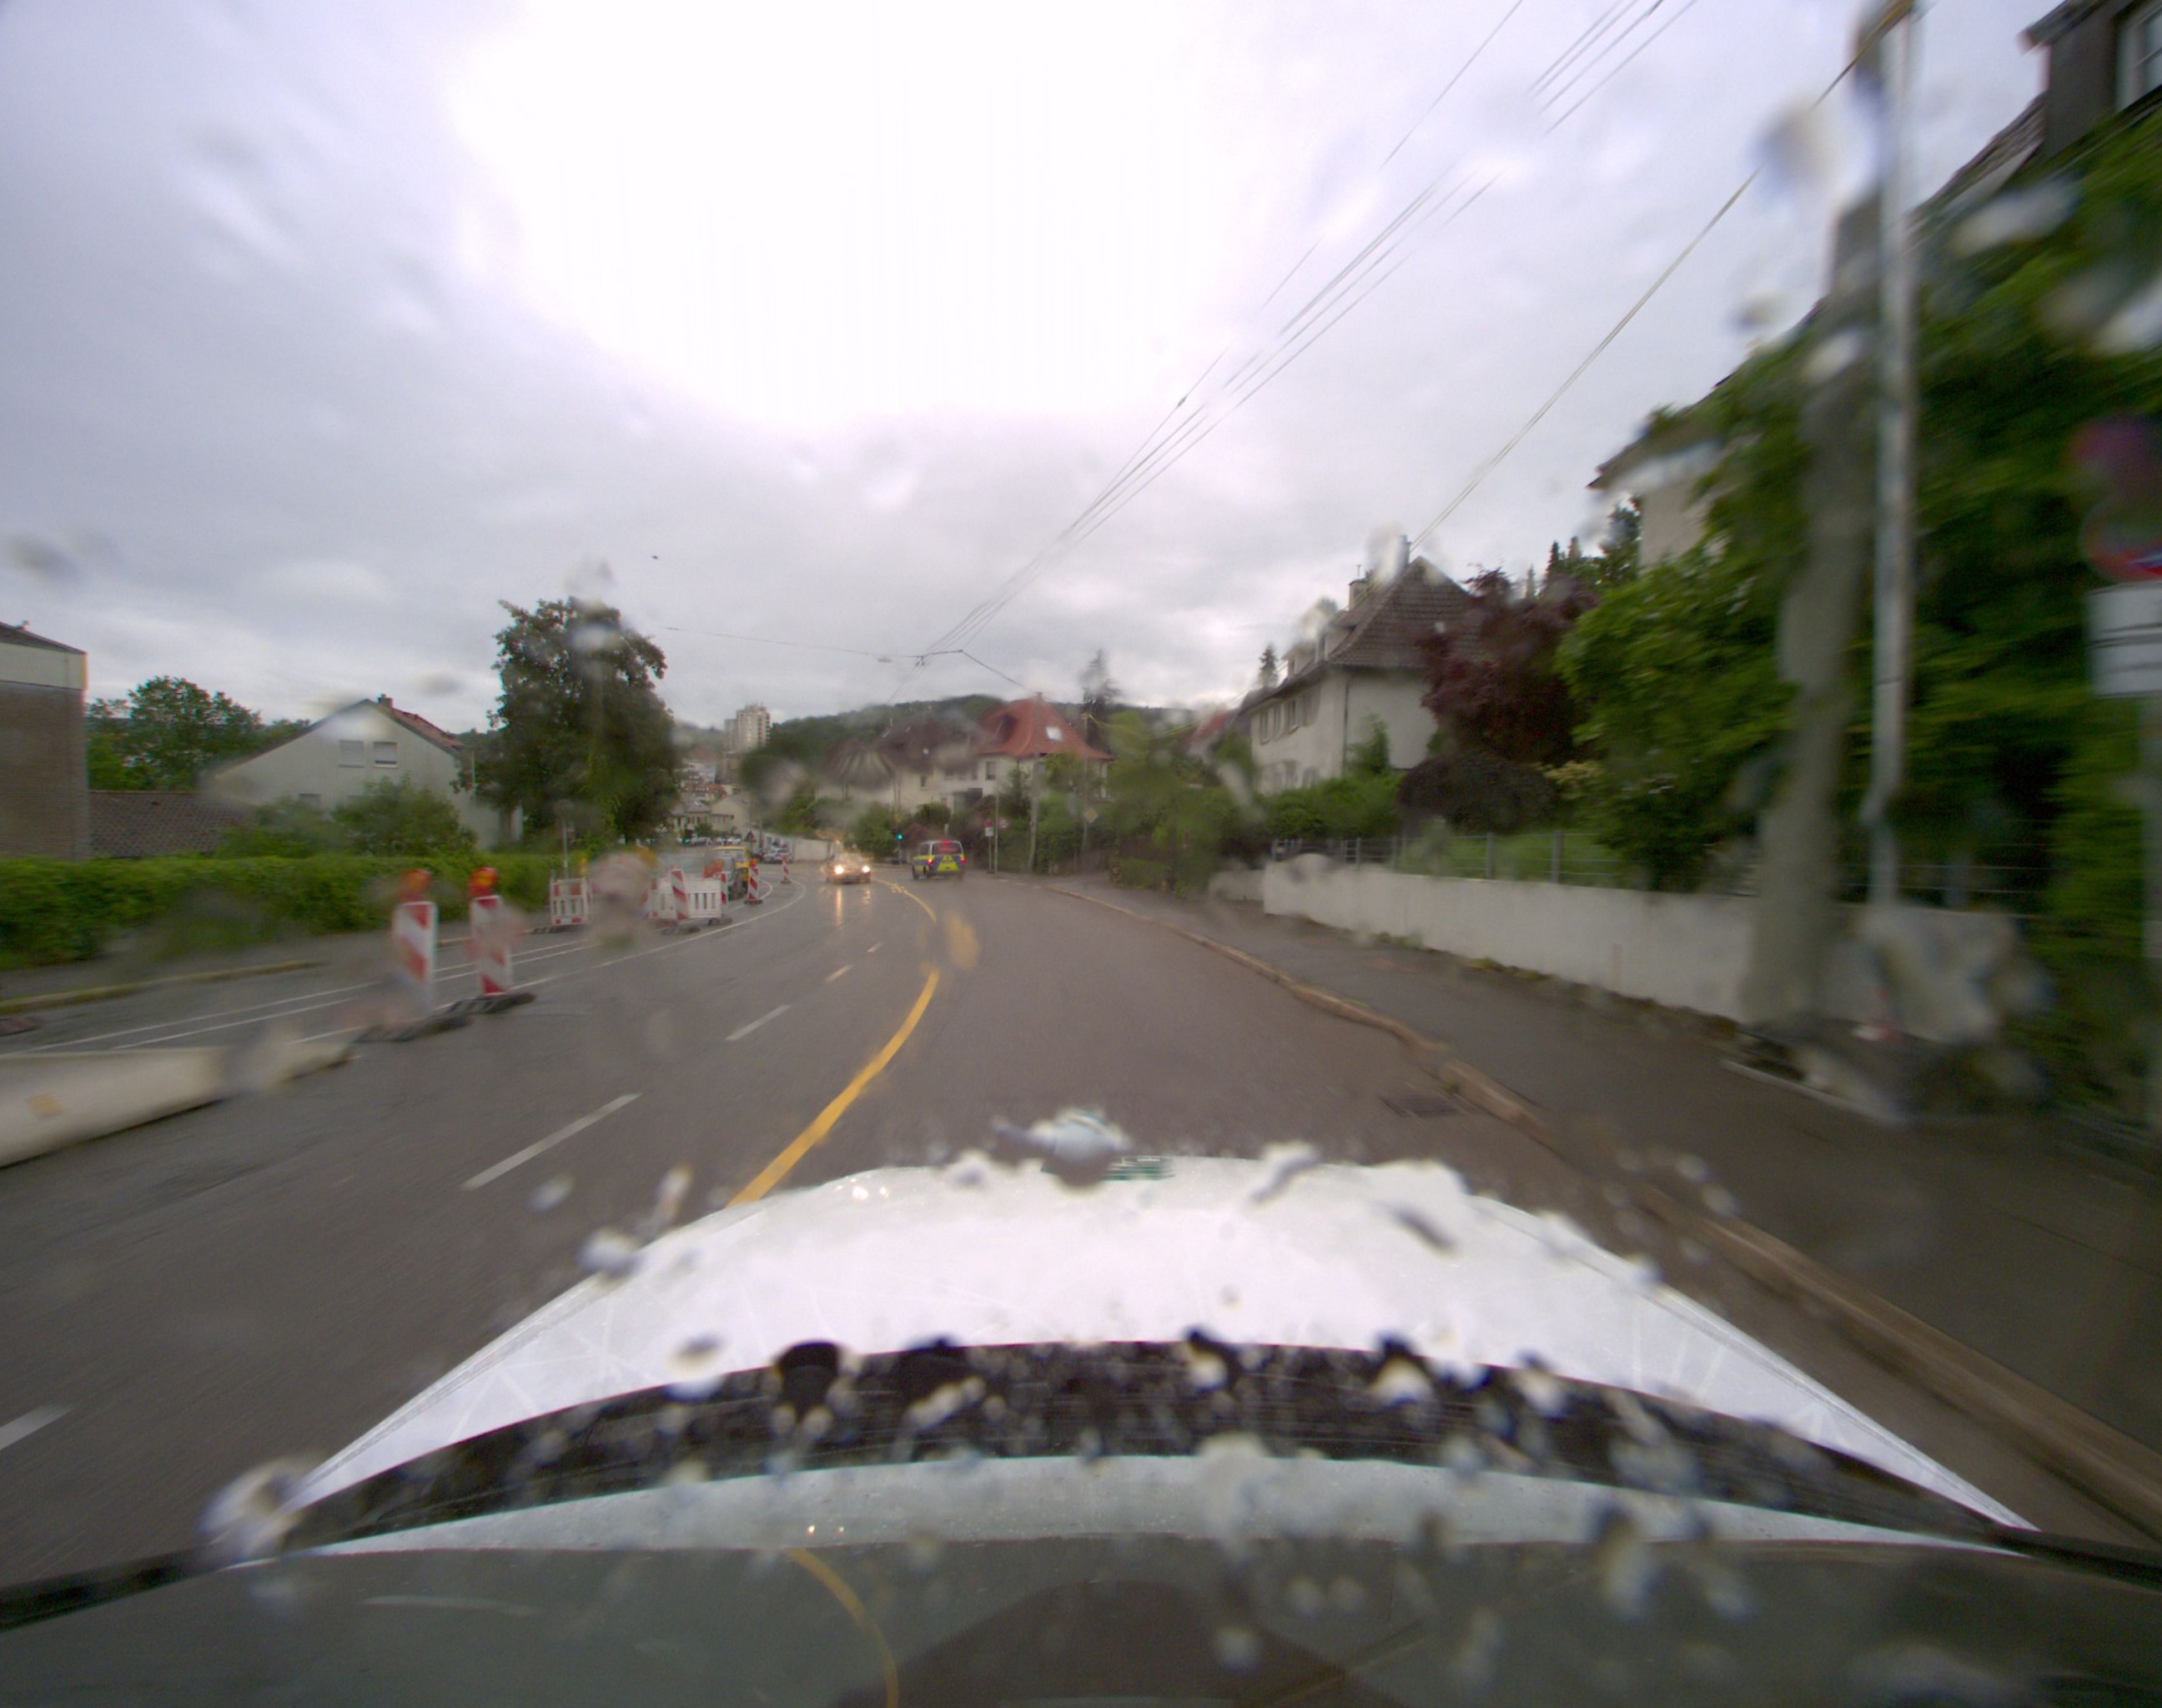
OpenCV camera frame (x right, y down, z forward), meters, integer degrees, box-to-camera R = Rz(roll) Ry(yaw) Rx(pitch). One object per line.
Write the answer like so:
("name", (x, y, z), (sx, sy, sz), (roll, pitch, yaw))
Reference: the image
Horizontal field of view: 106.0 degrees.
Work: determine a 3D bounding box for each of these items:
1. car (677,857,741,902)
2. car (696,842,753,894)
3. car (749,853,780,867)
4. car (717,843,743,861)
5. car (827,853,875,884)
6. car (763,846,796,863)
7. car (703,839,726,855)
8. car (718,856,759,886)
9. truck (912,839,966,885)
("car", (-13.038, 0.843, 28.744), (1.853, 1.464, 3.740), (0, 0, -22))
("car", (-14.838, 0.553, 34.135), (2.001, 2.013, 5.105), (0, 0, -22))
("car", (-32.116, 0.619, 82.570), (2.008, 1.376, 3.957), (0, 0, -35))
("car", (-40.241, -0.257, 93.325), (2.008, 1.683, 3.960), (-3, 6, -33))
("car", (-11.456, 0.686, 40.763), (1.995, 1.464, 3.984), (0, 0, -12))
("car", (-28.922, 0.054, 78.156), (2.008, 1.574, 3.957), (0, 0, -35))
("car", (-46.516, -0.870, 103.422), (2.008, 1.683, 3.960), (-3, 6, -33))
("car", (-17.570, 0.853, 41.869), (1.853, 1.464, 3.740), (0, 0, -22))
("truck", (-7.207, 0.326, 41.075), (1.999, 2.013, 4.707), (-1, 3, -18))
